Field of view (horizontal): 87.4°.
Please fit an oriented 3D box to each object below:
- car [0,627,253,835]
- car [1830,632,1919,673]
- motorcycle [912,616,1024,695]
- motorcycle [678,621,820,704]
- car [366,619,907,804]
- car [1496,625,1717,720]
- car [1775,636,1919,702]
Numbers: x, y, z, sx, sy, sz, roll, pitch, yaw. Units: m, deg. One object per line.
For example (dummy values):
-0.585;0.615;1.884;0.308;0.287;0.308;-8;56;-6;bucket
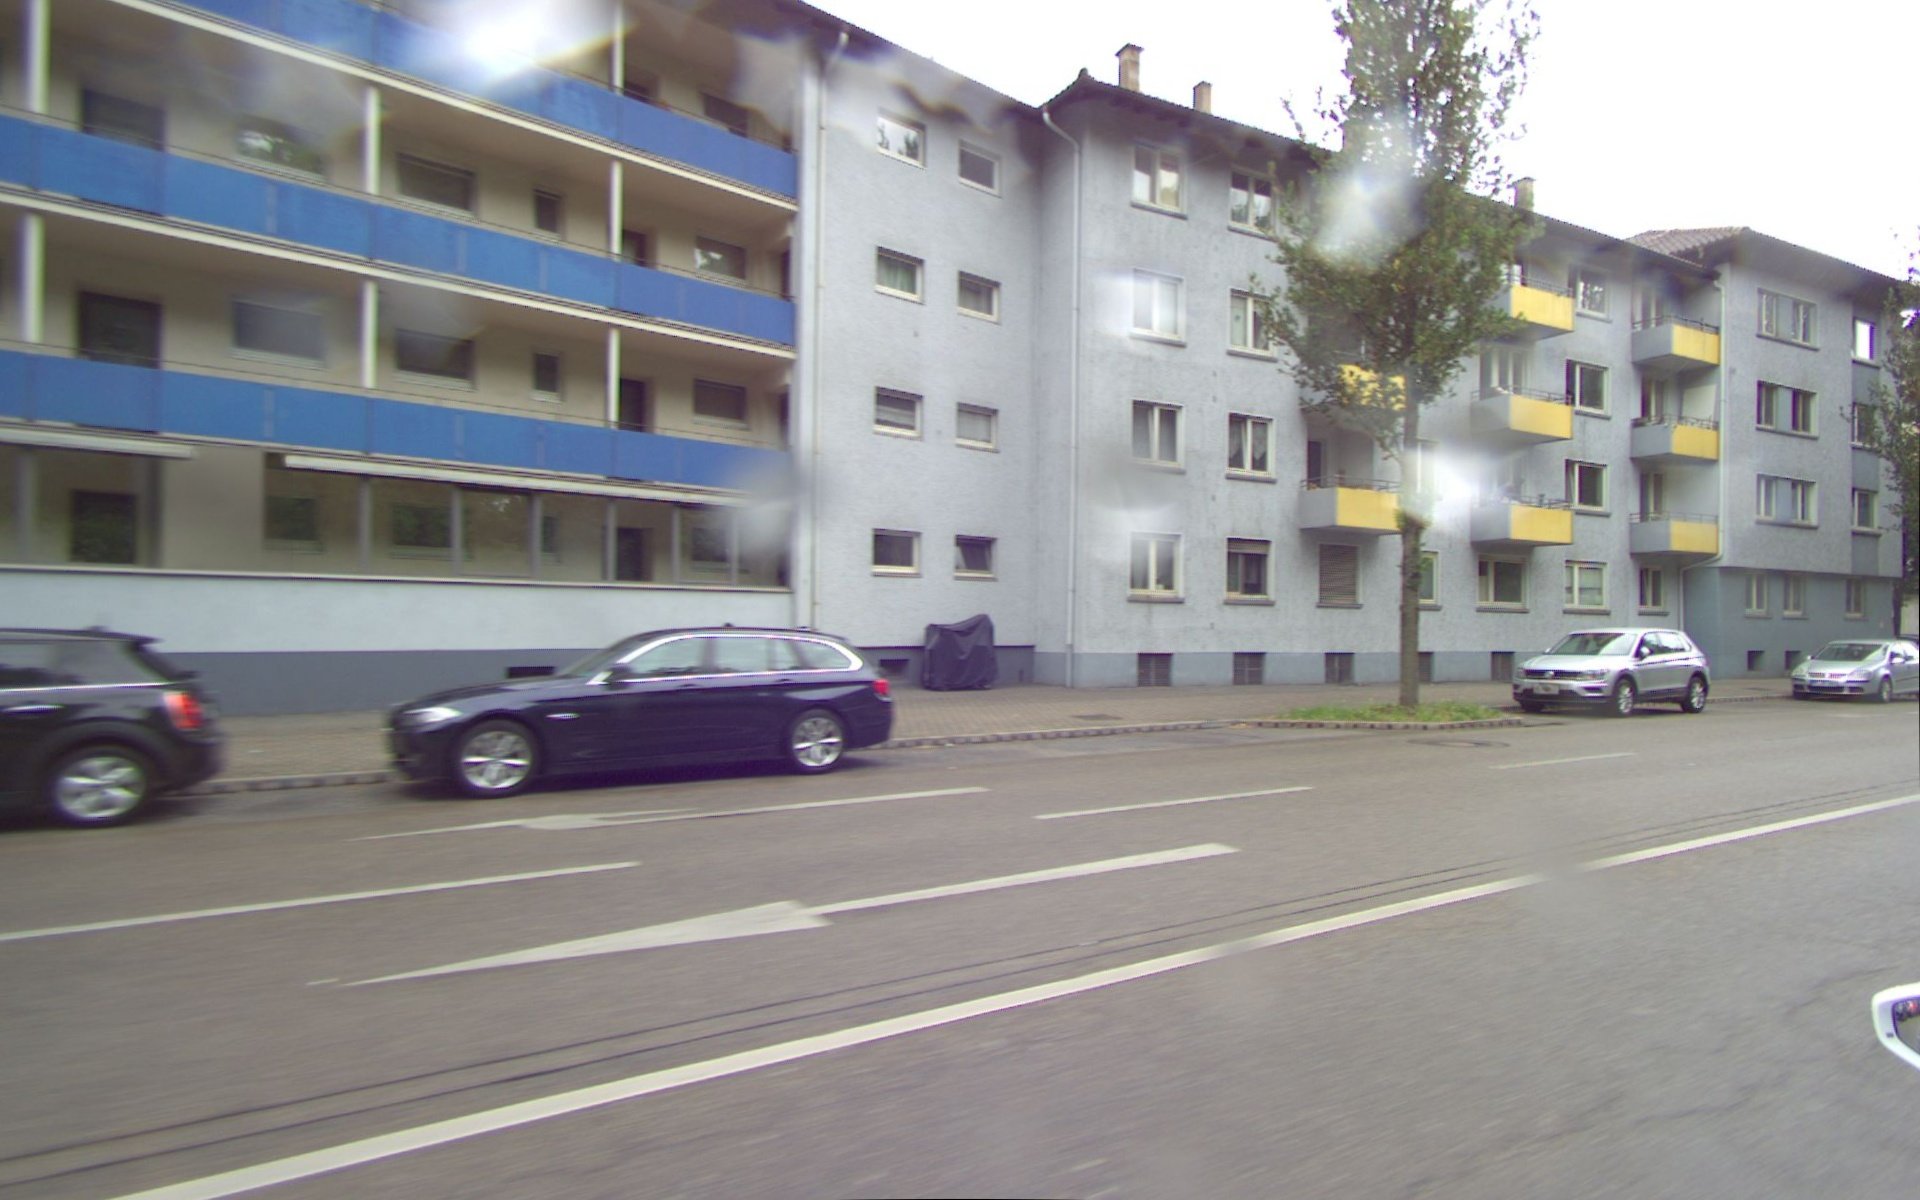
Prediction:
-7.640;0.916;7.227;4.044;1.421;1.770;1;-3;-32;car
38.924;2.133;41.468;1.900;1.600;4.137;1;-1;-25;car
0.174;1.064;19.528;2.217;1.433;0.670;2;1;-39;motorcycle
-3.486;1.022;16.726;2.215;1.271;0.670;2;1;-36;motorcycle
-3.067;0.989;9.974;4.838;1.458;1.811;2;-3;-32;car
12.418;1.321;19.232;4.481;1.625;1.755;2;-2;-31;car
21.858;1.653;24.502;4.156;1.472;1.716;2;-2;-30;car
